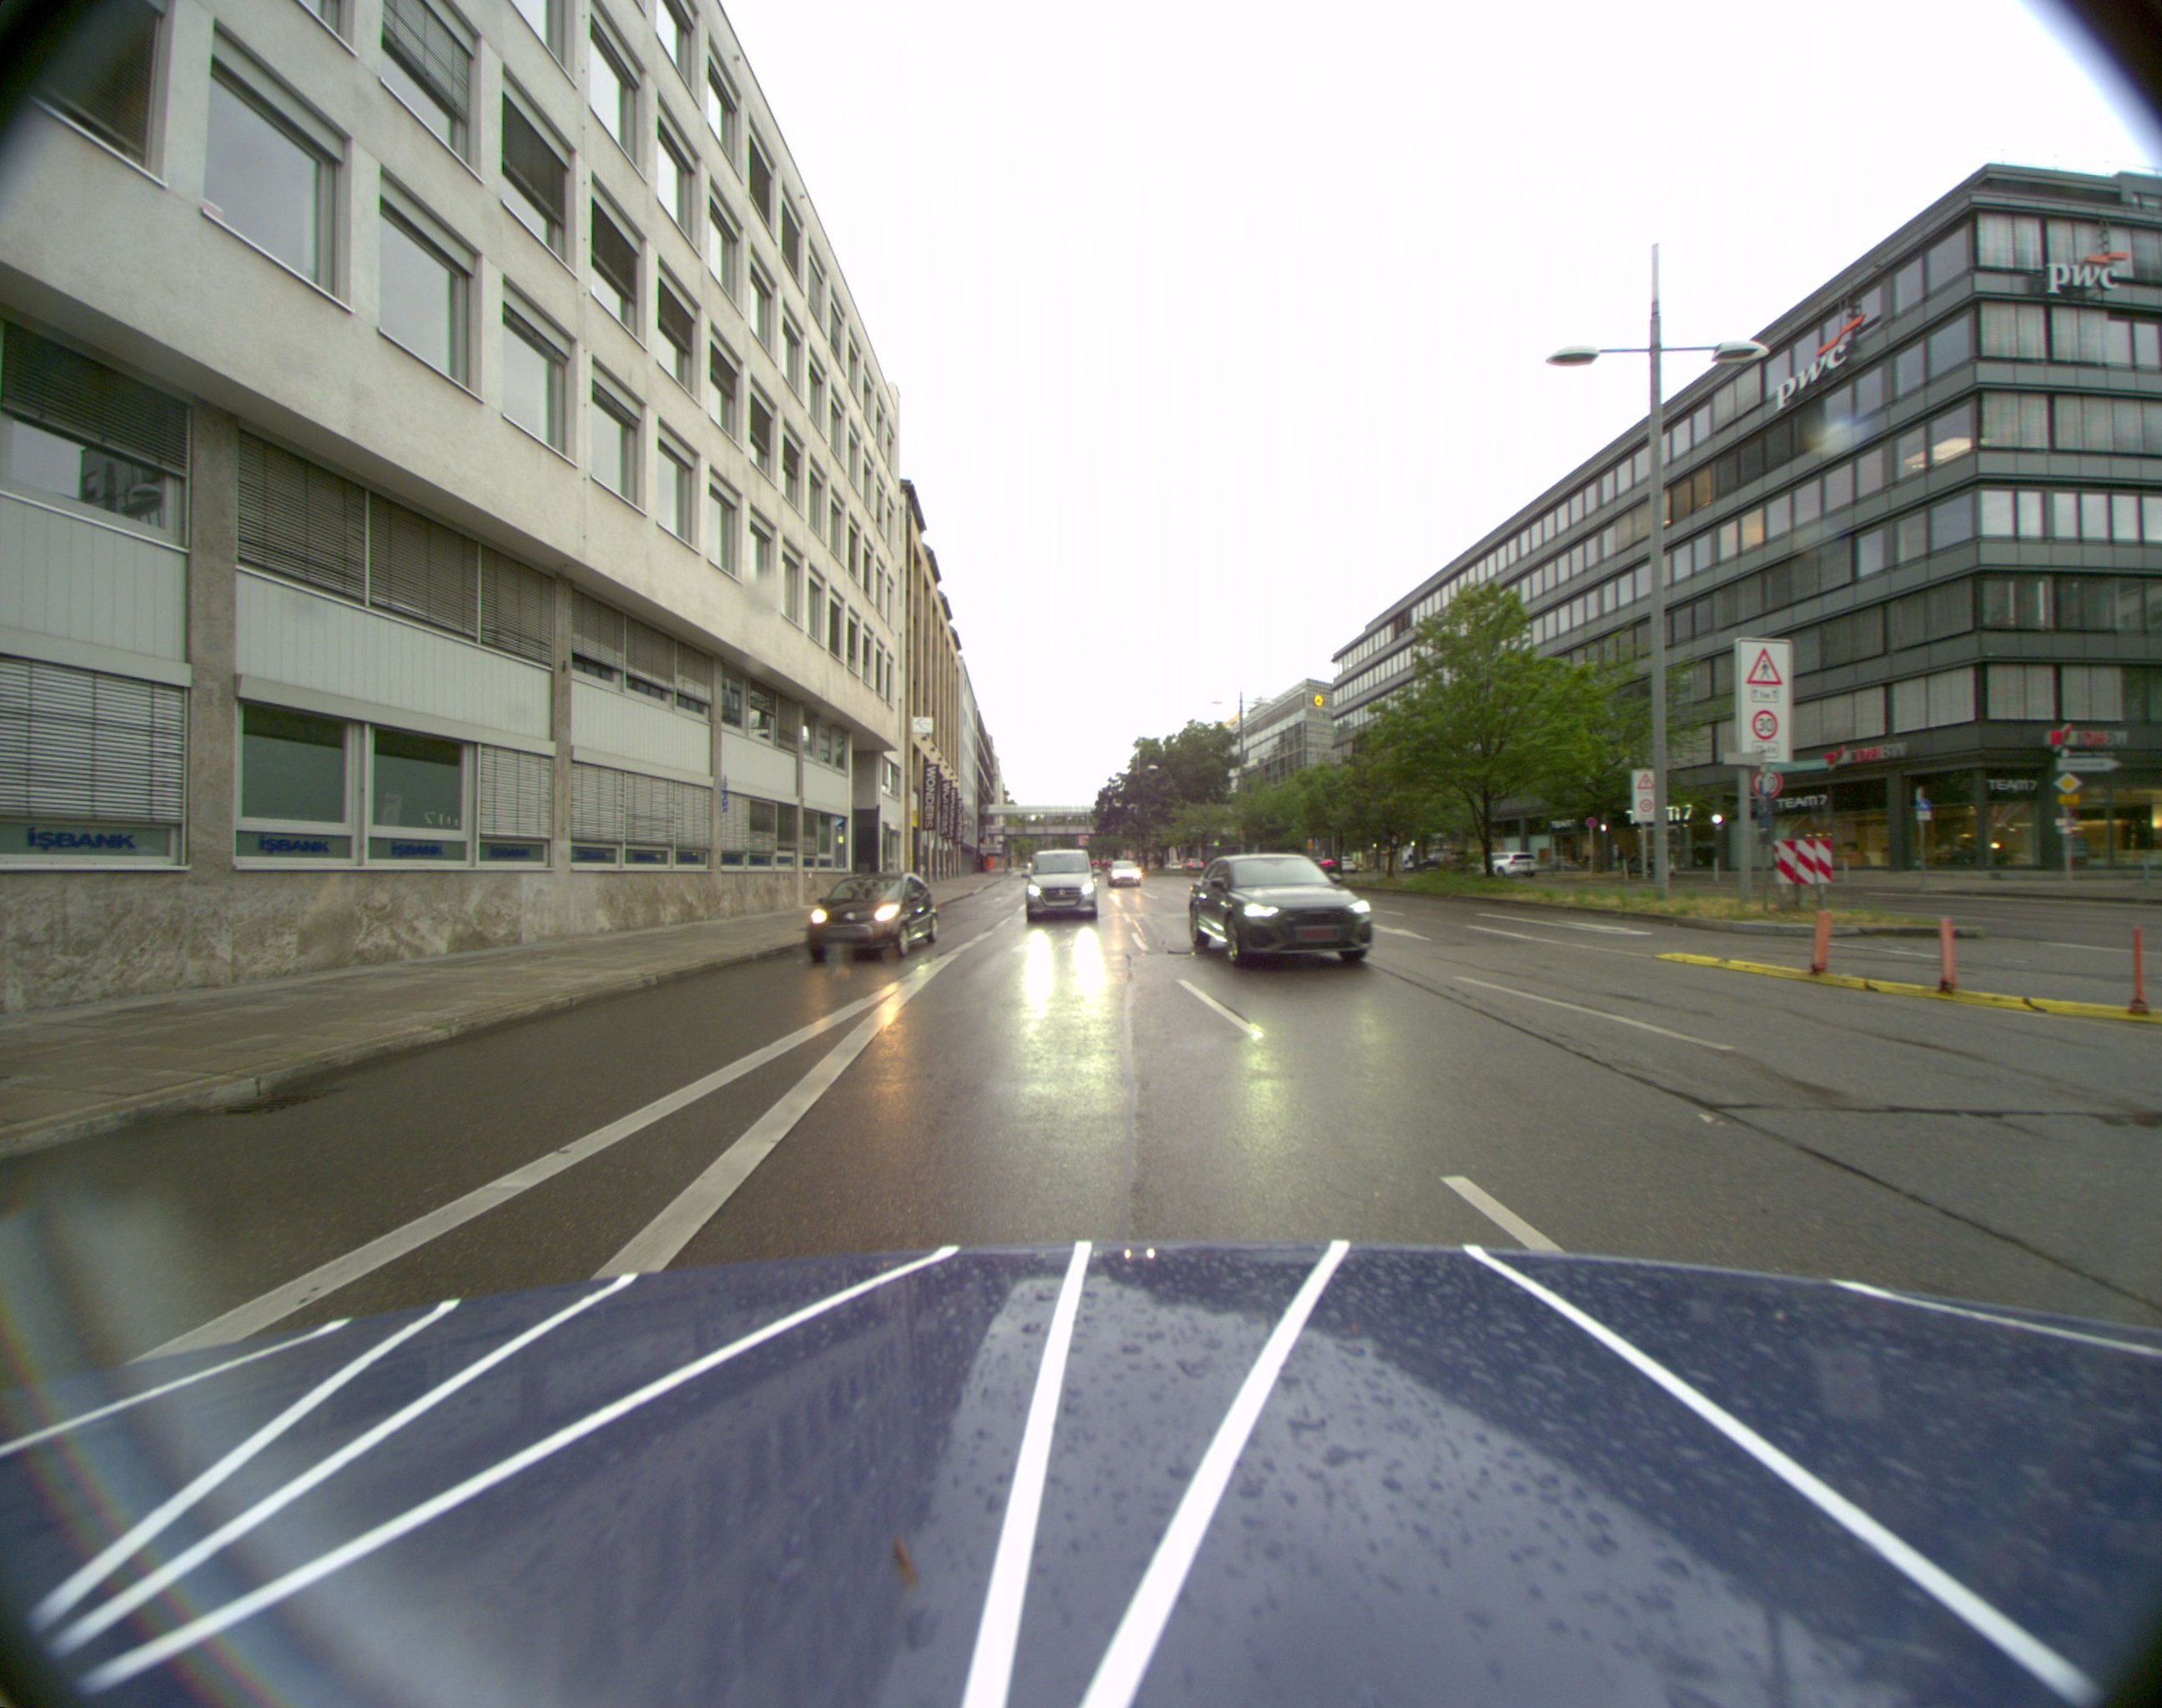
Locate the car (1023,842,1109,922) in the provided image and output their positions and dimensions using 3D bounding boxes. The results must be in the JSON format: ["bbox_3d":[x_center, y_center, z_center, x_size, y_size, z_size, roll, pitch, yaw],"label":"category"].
[{"bbox_3d":[-0.533,0.741,22.126,2.163,2.014,5.040,-1,0,-3],"label":"car"}]

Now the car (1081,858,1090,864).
[{"bbox_3d":[1.018,1.689,181.496,1.733,1.303,4.075,-2,0,-7],"label":"car"}]

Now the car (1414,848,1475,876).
[{"bbox_3d":[23.823,0.500,49.987,1.813,1.651,4.309,-2,0,-2],"label":"car"}]

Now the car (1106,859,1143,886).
[{"bbox_3d":[2.512,1.056,44.558,1.853,1.434,3.870,-1,0,-1],"label":"car"}]

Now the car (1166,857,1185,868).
[{"bbox_3d":[12.517,1.156,100.826,1.687,1.423,4.081,-1,0,-5],"label":"car"}]

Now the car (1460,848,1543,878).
[{"bbox_3d":[24.141,0.502,43.852,1.814,1.476,4.771,-4,0,-3],"label":"car"}]

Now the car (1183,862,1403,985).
[{"bbox_3d":[2.876,0.871,11.390,1.941,1.426,4.287,-1,0,-2],"label":"car"}]

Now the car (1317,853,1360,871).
[{"bbox_3d":[22.491,0.706,66.474,1.814,1.436,4.307,-2,0,-7],"label":"car"}]

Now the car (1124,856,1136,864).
[{"bbox_3d":[9.799,1.186,152.855,1.814,1.467,4.299,-1,0,-6],"label":"car"}]

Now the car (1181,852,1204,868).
[{"bbox_3d":[13.490,0.727,92.085,1.742,1.718,4.491,-2,0,-6],"label":"car"}]

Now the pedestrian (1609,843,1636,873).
[{"bbox_3d":[30.005,0.242,42.088,0.786,1.628,0.965,-1,0,-4],"label":"pedestrian"}]

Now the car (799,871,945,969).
[{"bbox_3d":[-3.655,1.091,13.902,1.666,1.464,3.483,-1,0,0],"label":"car"}]

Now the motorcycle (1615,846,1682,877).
[{"bbox_3d":[27.073,0.353,36.297,0.861,1.386,2.364,-5,2,-30],"label":"motorcycle"}]

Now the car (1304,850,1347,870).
[{"bbox_3d":[19.567,0.476,61.082,1.998,1.535,4.482,-1,0,0],"label":"car"}]
